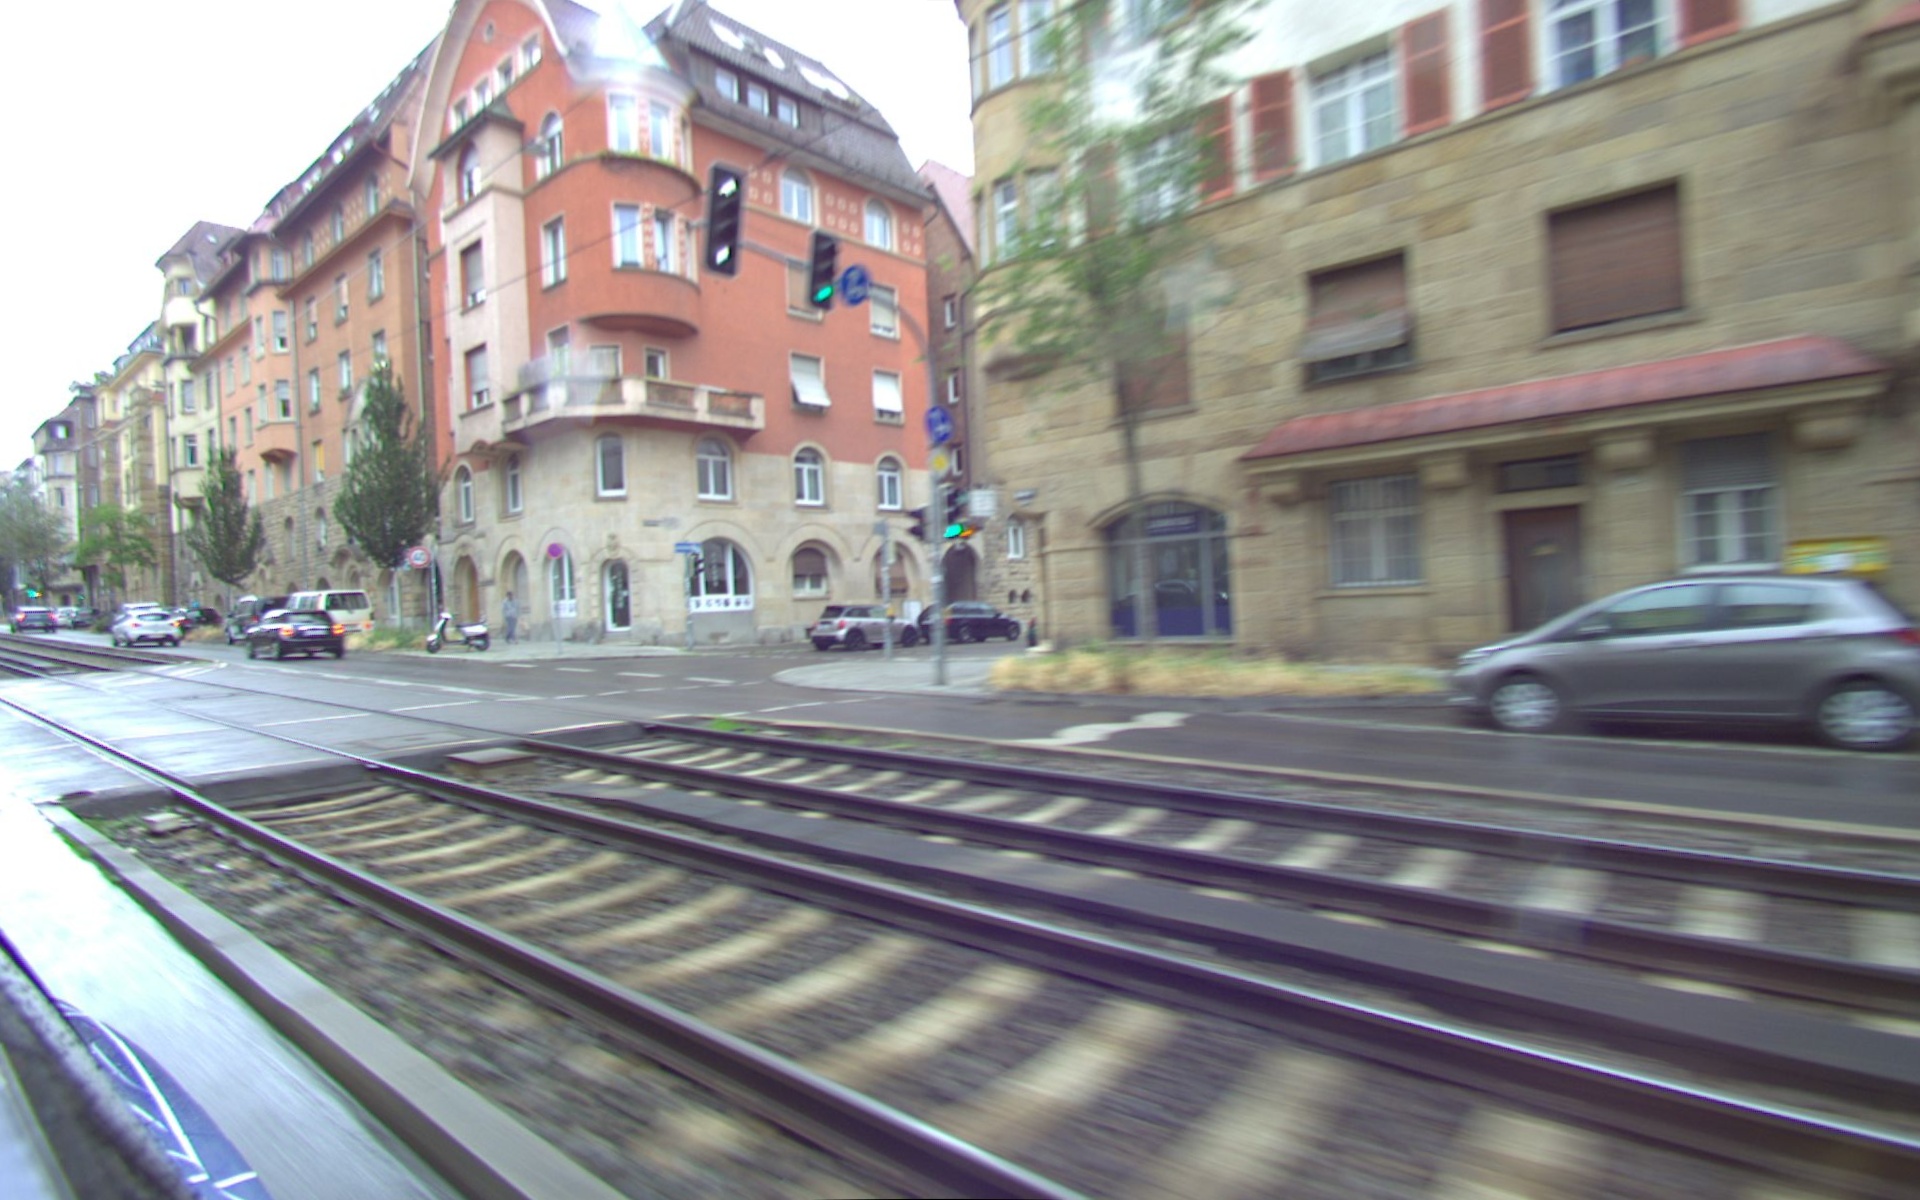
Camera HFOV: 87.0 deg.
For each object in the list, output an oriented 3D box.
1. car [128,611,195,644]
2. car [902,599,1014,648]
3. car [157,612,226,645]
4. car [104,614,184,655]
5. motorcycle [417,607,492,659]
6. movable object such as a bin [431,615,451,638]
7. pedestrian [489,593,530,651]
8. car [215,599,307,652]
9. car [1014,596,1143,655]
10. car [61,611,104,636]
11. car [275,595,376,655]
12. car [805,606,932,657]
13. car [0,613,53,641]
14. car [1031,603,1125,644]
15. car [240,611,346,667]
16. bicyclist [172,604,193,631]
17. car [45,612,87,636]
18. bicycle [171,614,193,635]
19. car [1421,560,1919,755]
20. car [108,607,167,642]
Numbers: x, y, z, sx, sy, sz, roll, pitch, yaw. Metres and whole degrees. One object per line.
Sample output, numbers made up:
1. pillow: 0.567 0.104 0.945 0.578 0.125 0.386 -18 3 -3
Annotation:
1. car: -40.590 1.351 51.401 4.594 1.502 1.738 0 2 40
2. car: -0.028 0.781 35.966 1.997 1.586 3.949 0 0 37
3. car: -36.748 1.330 48.348 3.691 1.414 1.738 0 3 39
4. car: -33.036 1.346 40.948 4.059 1.514 1.763 0 0 40
5. motorcycle: -14.155 0.912 28.374 1.754 1.385 0.770 -1 0 -17
6. movable object such as a bin: -20.760 1.061 40.490 0.656 0.905 0.540 0 0 45
7. pedestrian: -14.154 0.694 31.810 0.892 1.731 0.709 0 6 42
8. car: -27.724 0.957 40.082 4.830 1.945 1.886 0 0 41
9. car: 3.541 0.700 29.686 1.997 1.586 3.949 0 0 38
10. car: -58.675 1.570 67.644 3.712 1.493 1.695 0 3 43
11. car: -22.192 0.838 35.324 4.473 1.945 1.711 0 0 40
12. car: -2.884 0.949 32.521 1.746 1.478 3.945 0 0 41
13. car: -57.588 1.643 62.414 4.126 1.629 1.902 0 0 40
14. car: 4.972 0.960 42.365 1.999 1.586 3.945 0 0 42
15. car: -19.110 1.083 28.935 3.733 1.474 1.636 -1 -1 42
16. bicyclist: -47.185 1.053 61.405 0.774 1.613 0.883 -1 0 41
17. car: -63.274 1.662 71.602 4.044 1.462 1.736 0 3 43
18. bicycle: -47.172 1.453 61.371 2.052 1.231 0.685 0 0 42
19. car: 6.853 0.454 9.665 4.173 1.541 1.672 0 0 40
20. car: -44.889 1.300 55.207 4.258 1.684 1.737 0 3 41
